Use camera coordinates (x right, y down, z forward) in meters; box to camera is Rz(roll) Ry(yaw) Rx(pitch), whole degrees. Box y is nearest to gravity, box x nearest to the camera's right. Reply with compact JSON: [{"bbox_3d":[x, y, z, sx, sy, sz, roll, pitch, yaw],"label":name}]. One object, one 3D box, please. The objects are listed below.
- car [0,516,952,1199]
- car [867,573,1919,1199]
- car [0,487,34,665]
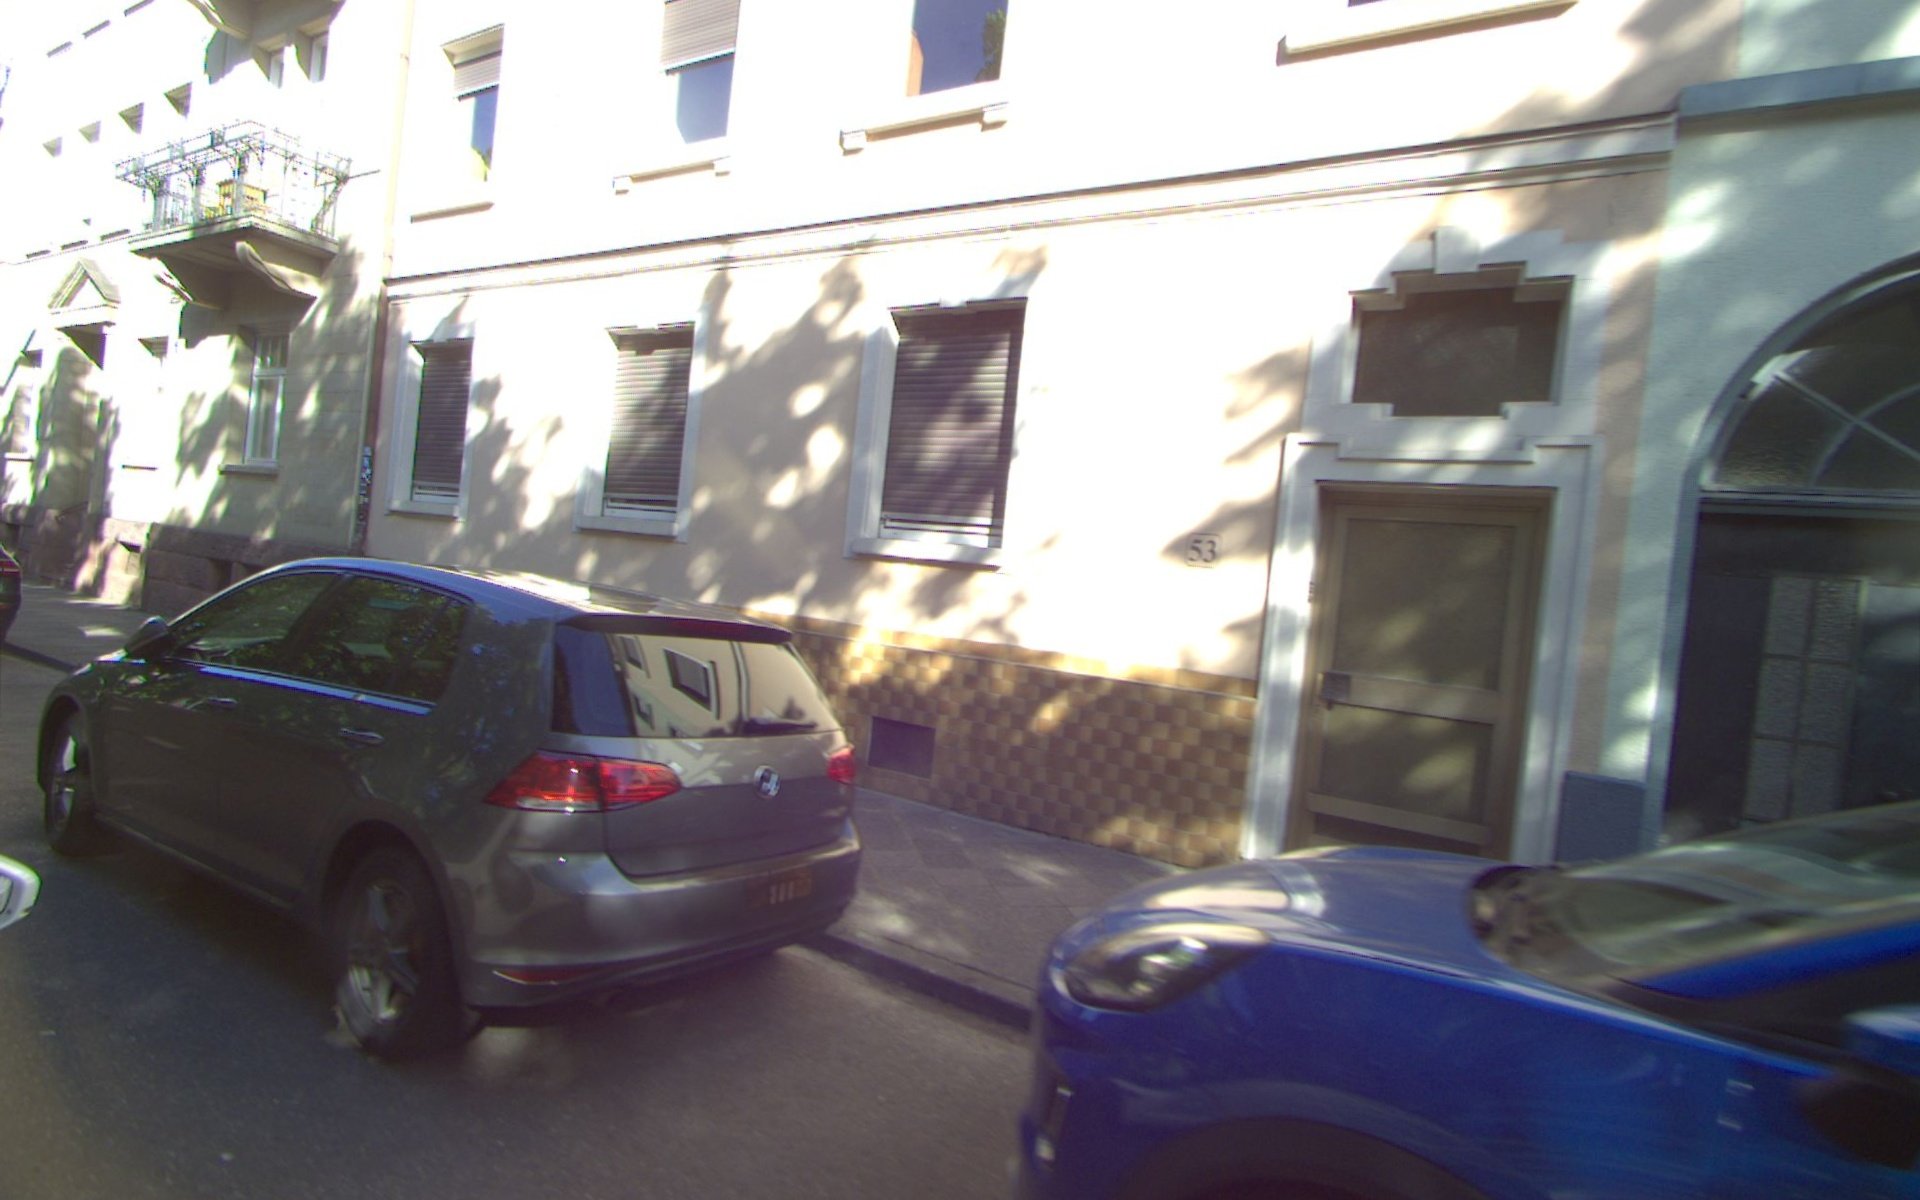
[{"bbox_3d":[-2.210,0.627,4.253,3.939,1.485,1.694,7,-1,32],"label":"car"},{"bbox_3d":[2.063,1.020,1.647,4.114,1.570,1.770,7,-1,31],"label":"car"},{"bbox_3d":[-10.735,-0.460,9.587,4.250,1.584,1.805,7,2,33],"label":"car"}]
